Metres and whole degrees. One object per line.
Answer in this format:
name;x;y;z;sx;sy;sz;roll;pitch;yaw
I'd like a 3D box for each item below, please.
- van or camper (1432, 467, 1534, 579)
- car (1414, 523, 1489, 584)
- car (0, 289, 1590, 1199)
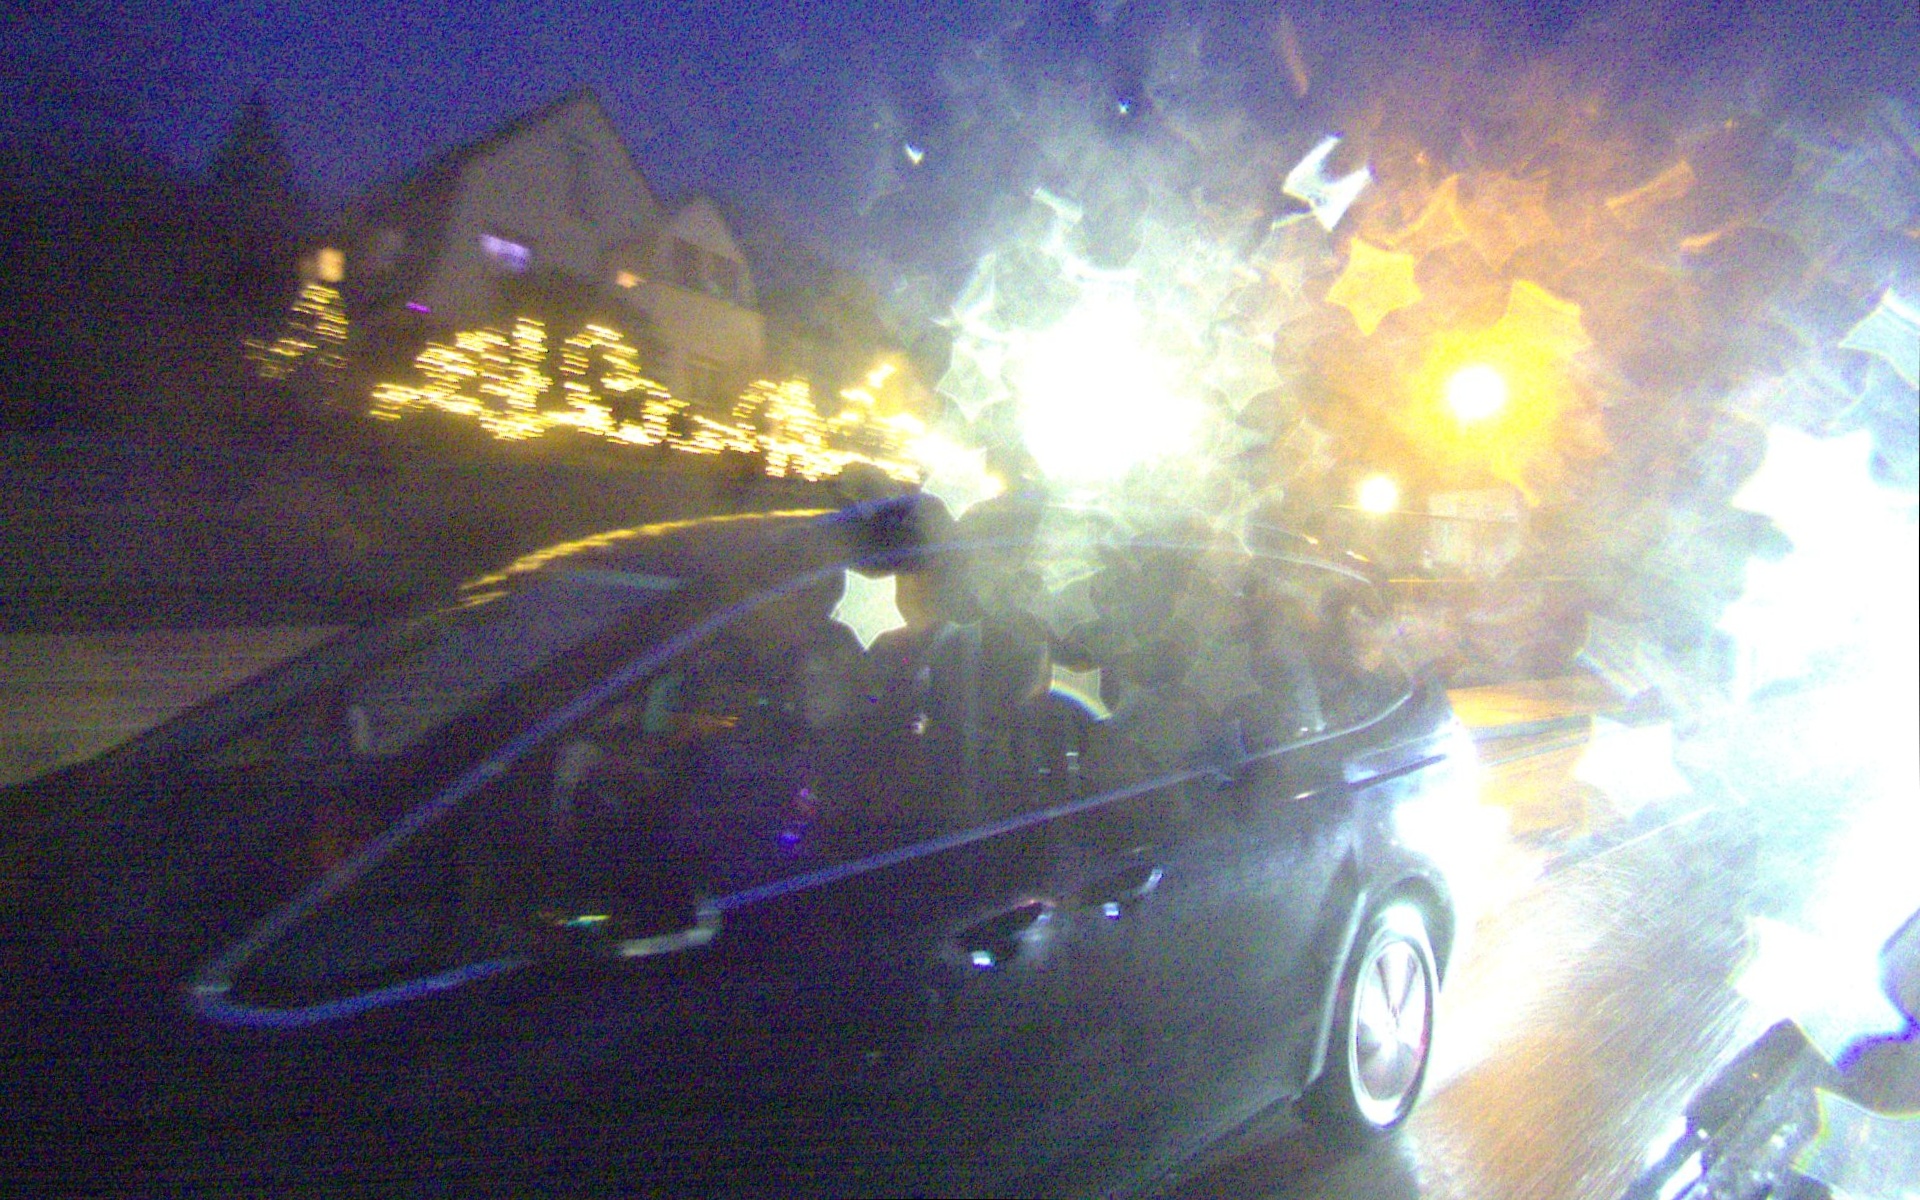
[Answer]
van or camper;15.441;-2.090;29.711;2.395;2.828;5.712;-1;0;30
car;17.839;-1.611;36.638;1.985;2.039;3.954;-1;0;33
car;-0.284;0.584;2.609;4.854;1.757;1.838;-1;0;-40
